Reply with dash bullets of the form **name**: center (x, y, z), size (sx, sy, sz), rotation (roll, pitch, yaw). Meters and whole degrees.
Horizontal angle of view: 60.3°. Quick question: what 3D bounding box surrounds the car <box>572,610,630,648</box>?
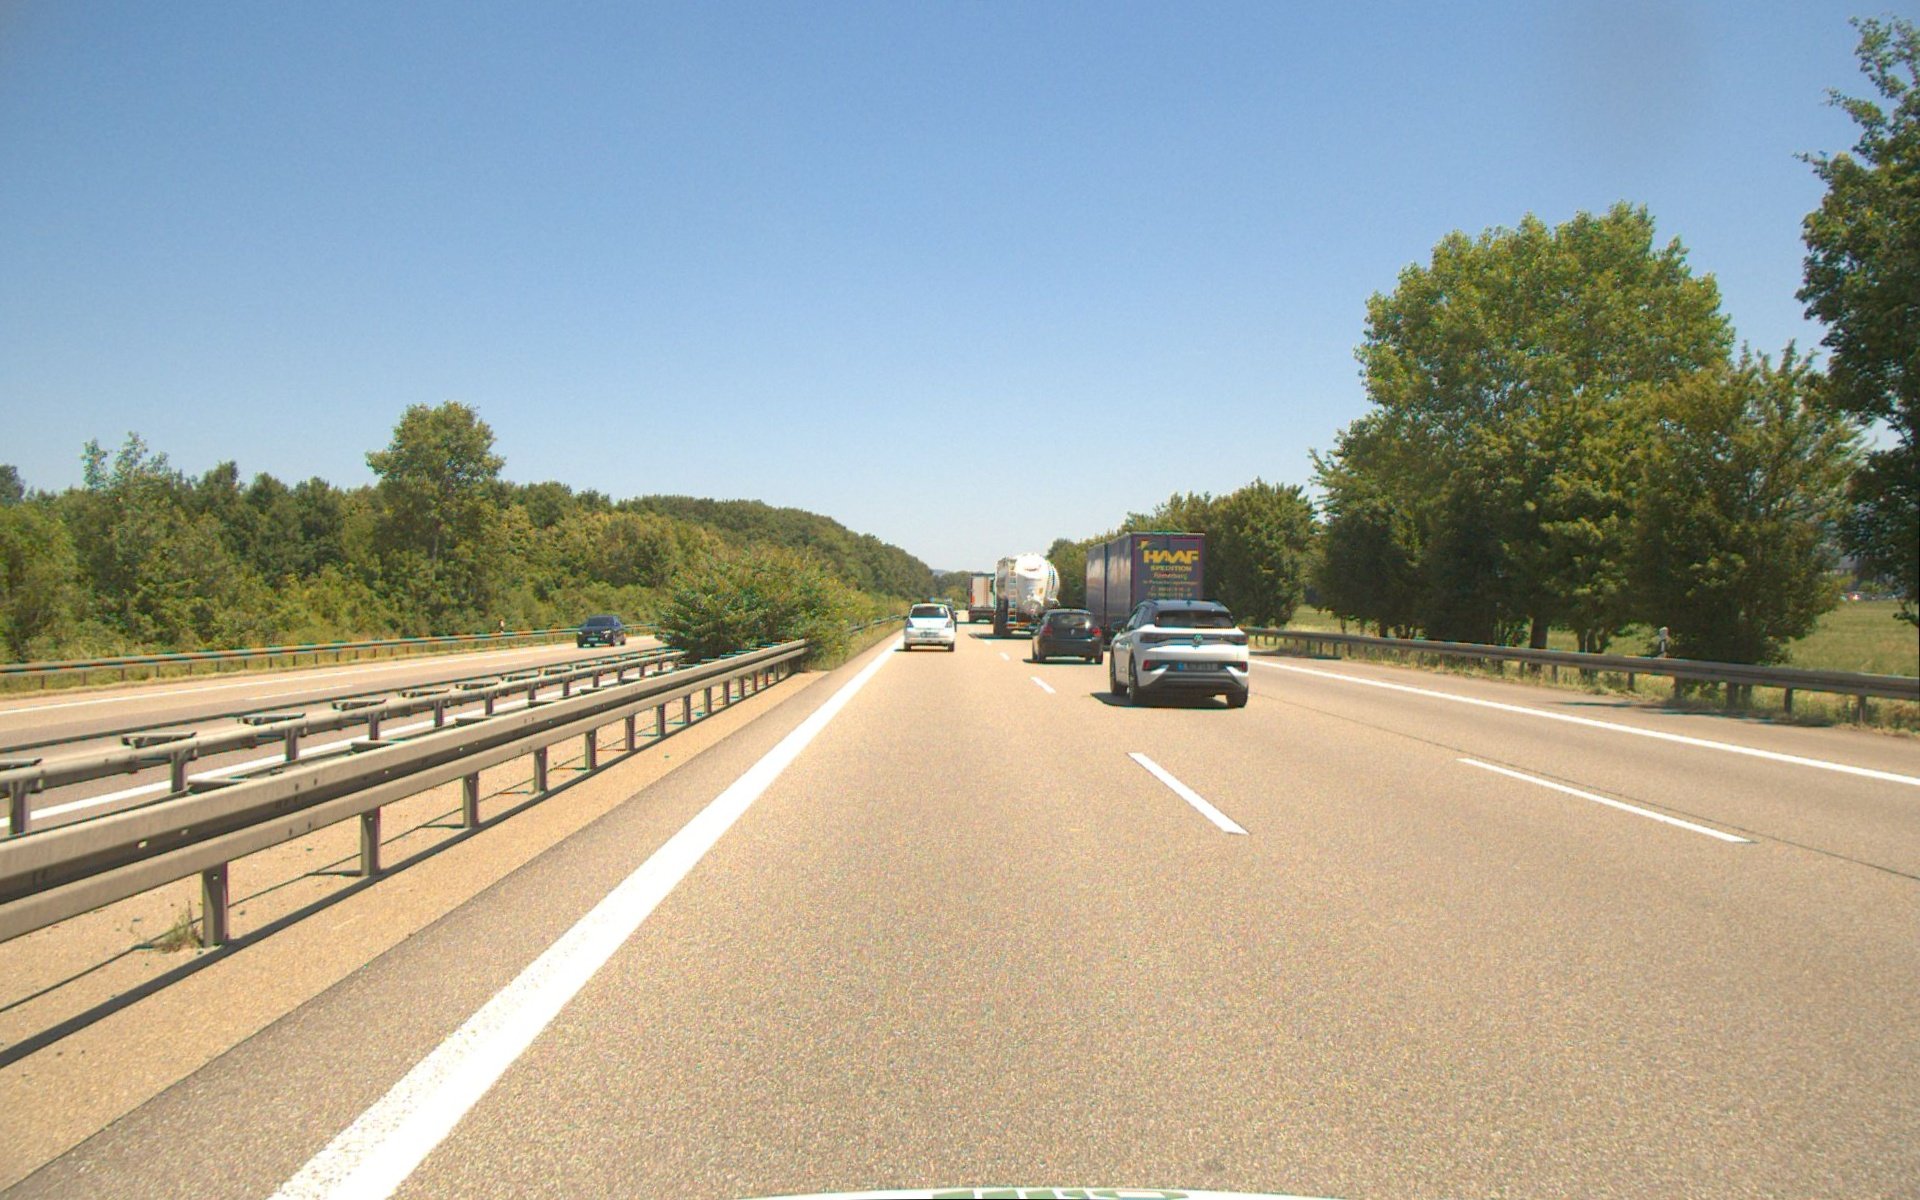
- **car**: center (-17.431, 1.368, 80.443), size (1.885, 1.747, 4.287), rotation (-1, 0, -1)

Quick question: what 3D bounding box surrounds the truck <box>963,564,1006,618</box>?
- **truck**: center (2.004, -0.708, 139.488), size (3.325, 4.287, 12.082), rotation (1, 0, 0)

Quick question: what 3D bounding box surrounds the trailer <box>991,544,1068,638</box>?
- **trailer**: center (3.206, -0.400, 80.034), size (2.852, 4.140, 12.414), rotation (1, 0, -1)

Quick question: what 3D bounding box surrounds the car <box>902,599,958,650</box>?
- **car**: center (-1.009, 0.791, 54.614), size (1.763, 1.579, 3.608), rotation (1, 0, -2)

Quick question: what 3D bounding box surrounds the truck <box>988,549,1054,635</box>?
- **truck**: center (3.084, -0.402, 85.220), size (2.853, 4.150, 7.192), rotation (1, 0, -2)

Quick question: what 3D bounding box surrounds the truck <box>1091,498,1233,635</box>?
- **truck**: center (6.904, -1.057, 59.279), size (3.045, 4.211, 15.509), rotation (1, 0, 0)

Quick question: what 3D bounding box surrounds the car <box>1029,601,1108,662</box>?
- **car**: center (2.902, 0.827, 45.048), size (1.813, 1.549, 3.956), rotation (1, 0, -1)

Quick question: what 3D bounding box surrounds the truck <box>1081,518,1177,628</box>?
- **truck**: center (6.861, -1.065, 68.371), size (3.045, 4.211, 8.055), rotation (1, 0, 0)

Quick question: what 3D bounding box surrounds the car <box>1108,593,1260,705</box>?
- **car**: center (3.528, 0.725, 26.824), size (1.766, 1.631, 4.379), rotation (1, 0, -1)
